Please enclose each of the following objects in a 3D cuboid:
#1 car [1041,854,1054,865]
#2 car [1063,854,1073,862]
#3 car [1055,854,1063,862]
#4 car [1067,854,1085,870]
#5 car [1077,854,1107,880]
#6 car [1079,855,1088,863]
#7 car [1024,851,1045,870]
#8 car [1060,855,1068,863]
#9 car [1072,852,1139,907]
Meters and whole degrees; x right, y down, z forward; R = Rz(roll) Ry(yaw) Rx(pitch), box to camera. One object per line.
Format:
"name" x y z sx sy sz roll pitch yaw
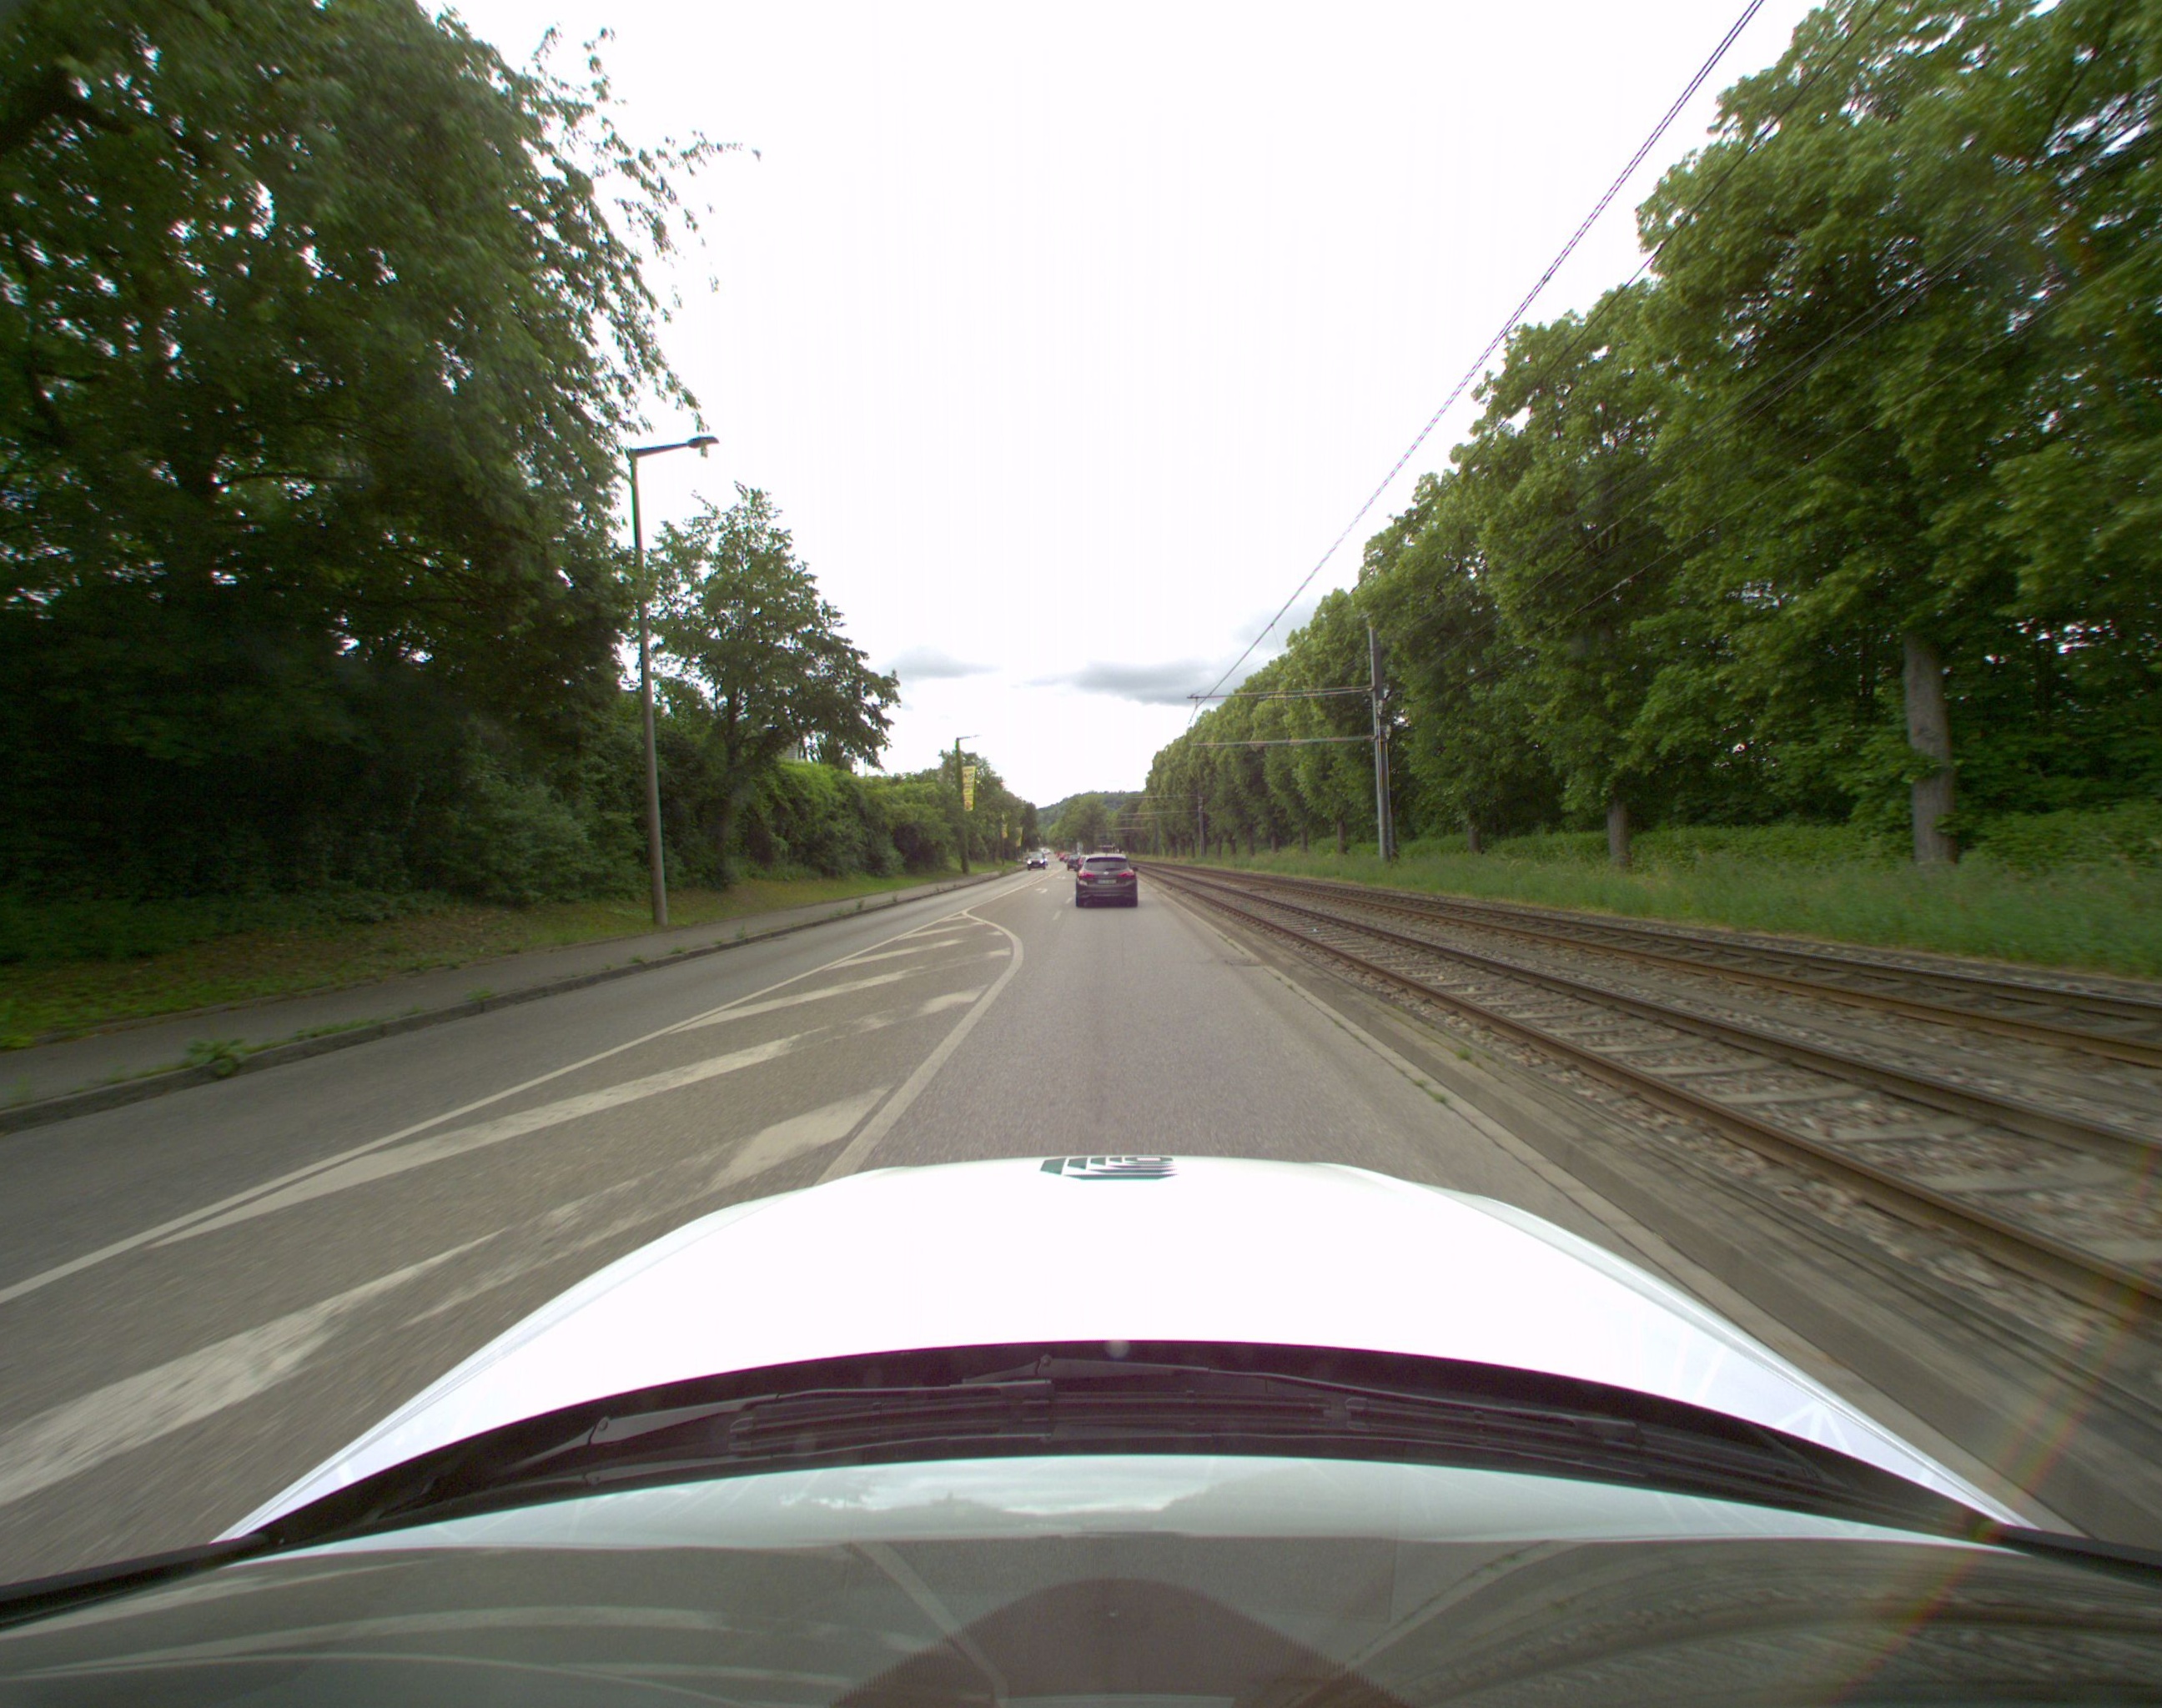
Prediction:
"car" -5.235 0.900 128.544 1.836 1.620 4.158 -3 0 0
"car" -2.462 0.690 157.572 1.787 1.510 4.002 -1 0 2
"car" -5.309 0.987 201.260 1.693 1.714 4.002 -1 0 2
"car" -0.453 0.782 78.483 1.694 1.443 4.000 -1 0 1
"car" 0.674 0.772 48.999 1.694 1.443 4.000 -1 0 1
"car" 0.444 1.025 161.225 1.709 1.550 3.999 -1 -1 0
"car" -5.275 0.699 93.435 1.987 2.036 5.114 -4 0 0
"car" -4.061 1.214 191.582 1.693 1.714 4.002 -1 0 2
"car" 0.756 0.705 24.461 1.843 1.493 4.002 -1 0 2
